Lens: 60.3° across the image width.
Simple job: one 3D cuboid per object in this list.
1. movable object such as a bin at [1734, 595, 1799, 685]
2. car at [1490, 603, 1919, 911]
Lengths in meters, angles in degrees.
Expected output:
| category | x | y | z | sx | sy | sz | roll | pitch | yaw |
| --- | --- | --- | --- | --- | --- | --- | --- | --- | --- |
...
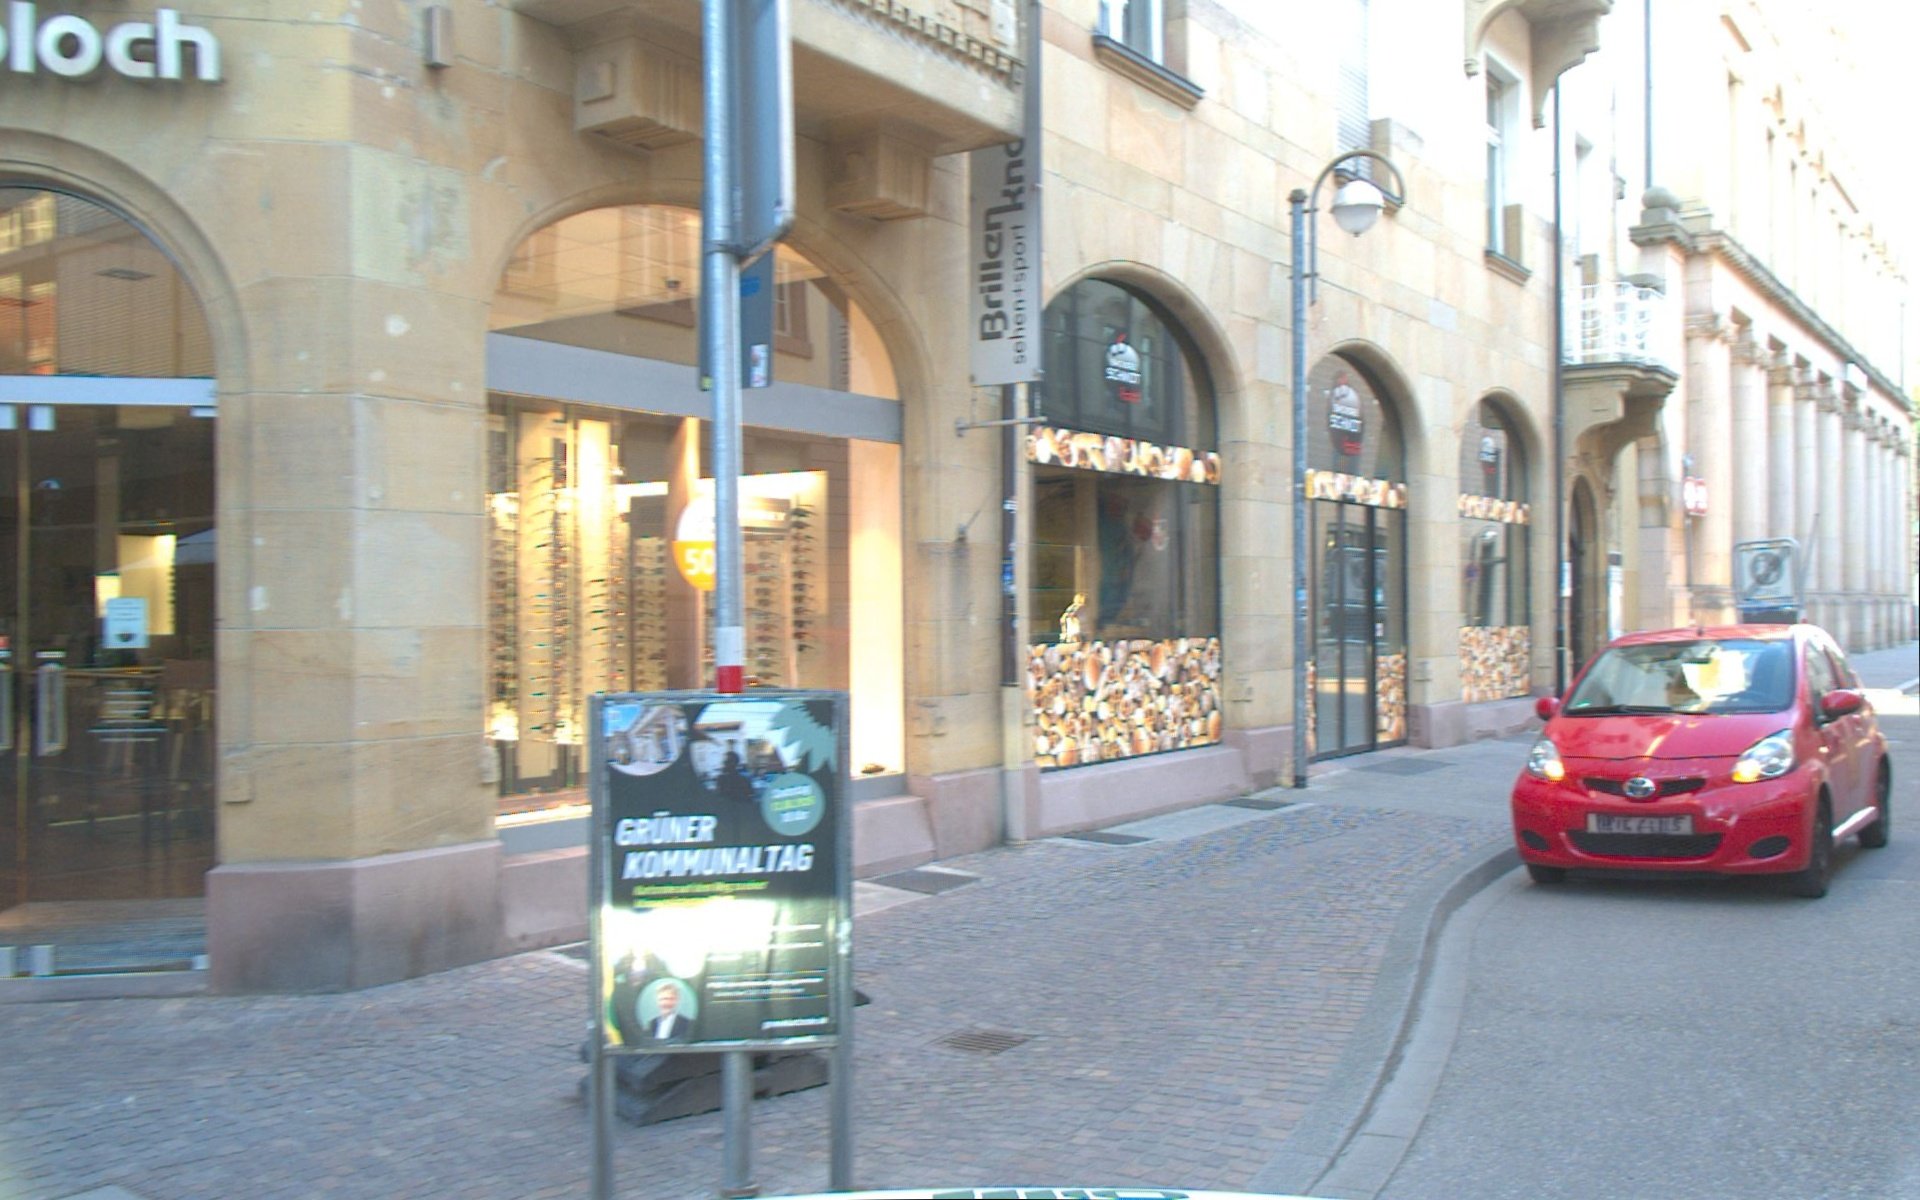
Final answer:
| category | x | y | z | sx | sy | sz | roll | pitch | yaw |
| --- | --- | --- | --- | --- | --- | --- | --- | --- | --- |
| movable object such as a bin | 14.105 | 0.674 | 28.923 | 0.815 | 1.529 | 1.286 | 0 | 0 | 36 |
| car | 4.781 | 0.821 | 10.243 | 1.630 | 1.495 | 3.916 | -4 | -2 | 36 |
